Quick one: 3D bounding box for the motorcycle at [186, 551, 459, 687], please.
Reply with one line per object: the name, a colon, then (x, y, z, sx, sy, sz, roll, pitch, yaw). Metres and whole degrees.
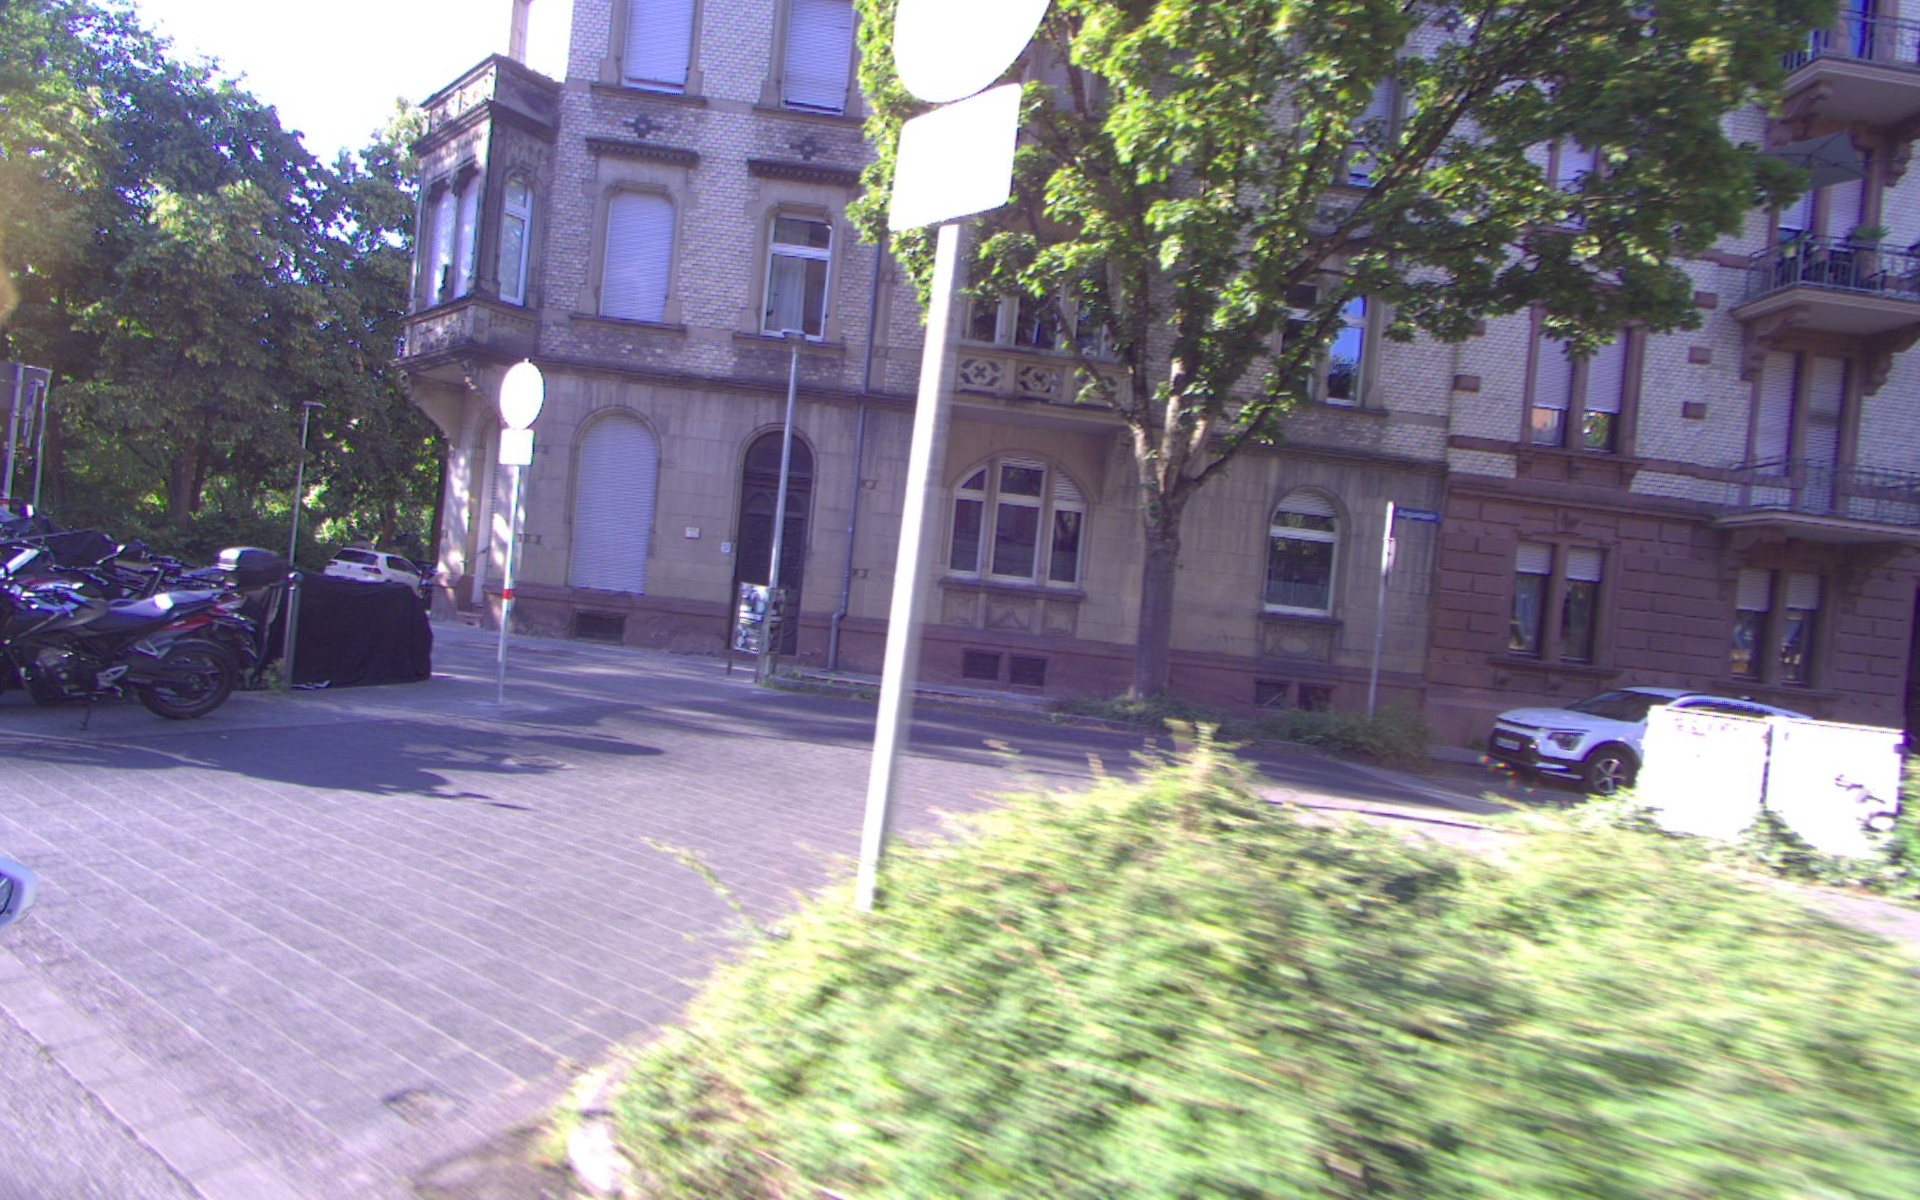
motorcycle: (-6.161, 0.201, 9.851, 0.889, 1.123, 2.025, 6, 1, 30)

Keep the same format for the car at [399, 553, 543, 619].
car: (-12.646, -0.289, 26.347, 1.963, 1.393, 4.367, 2, -3, -6)

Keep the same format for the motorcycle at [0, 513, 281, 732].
motorcycle: (-5.913, 0.154, 6.830, 0.610, 1.343, 2.018, 7, 0, 28)

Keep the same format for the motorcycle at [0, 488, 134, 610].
motorcycle: (-13.060, -0.728, 13.944, 0.742, 1.550, 2.288, 6, -1, 26)

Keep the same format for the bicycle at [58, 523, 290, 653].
bicycle: (-8.640, -0.088, 11.171, 0.471, 1.261, 1.929, 6, 0, 26)

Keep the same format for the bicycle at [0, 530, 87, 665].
bicycle: (-9.276, -0.054, 9.186, 0.297, 1.261, 1.929, 6, 0, 26)

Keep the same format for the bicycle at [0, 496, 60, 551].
bicycle: (-25.177, -2.077, 26.680, 2.107, 1.302, 1.026, 6, 1, 20)

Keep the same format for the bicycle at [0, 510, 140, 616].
bicycle: (-12.164, -0.494, 13.312, 0.471, 1.261, 1.929, 6, 0, 26)

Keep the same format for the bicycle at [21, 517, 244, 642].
bicycle: (-9.534, -0.189, 11.690, 0.388, 1.261, 1.929, 6, 0, 26)

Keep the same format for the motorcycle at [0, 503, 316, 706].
motorcycle: (-6.335, 0.052, 7.868, 0.683, 1.380, 2.024, 7, 1, 32)

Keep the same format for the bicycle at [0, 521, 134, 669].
bicycle: (-8.579, -0.067, 8.793, 0.637, 1.261, 1.929, 6, 0, 26)

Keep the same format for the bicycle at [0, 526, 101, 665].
bicycle: (-9.010, -0.069, 9.034, 0.297, 1.261, 1.929, 6, 0, 26)

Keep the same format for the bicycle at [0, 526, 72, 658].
bicycle: (-9.557, -0.119, 9.337, 0.297, 1.261, 1.929, 6, 0, 26)

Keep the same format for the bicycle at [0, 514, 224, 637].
bicycle: (-9.989, -0.241, 11.945, 0.471, 1.261, 1.929, 6, 0, 26)

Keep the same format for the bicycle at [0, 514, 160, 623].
bicycle: (-11.687, -0.398, 13.074, 0.471, 1.261, 1.929, 6, 0, 26)

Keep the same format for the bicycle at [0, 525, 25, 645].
bicycle: (-10.664, -0.219, 10.011, 0.297, 1.261, 1.929, 6, 0, 26)

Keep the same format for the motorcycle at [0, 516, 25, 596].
motorcycle: (-15.584, -0.792, 15.014, 0.958, 1.194, 2.277, 6, -1, 44)

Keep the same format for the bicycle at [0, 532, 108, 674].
bicycle: (-8.116, 0.010, 8.115, 0.436, 1.142, 1.818, 7, 2, 30)

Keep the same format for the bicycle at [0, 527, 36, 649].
bicycle: (-10.376, -0.182, 9.831, 0.297, 1.261, 1.929, 6, 0, 26)

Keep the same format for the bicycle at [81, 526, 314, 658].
bicycle: (-8.203, -0.038, 10.940, 0.471, 1.261, 1.929, 6, 0, 26)

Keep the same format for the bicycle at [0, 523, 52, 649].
bicycle: (-10.083, -0.192, 9.694, 0.297, 1.261, 1.929, 6, 0, 26)

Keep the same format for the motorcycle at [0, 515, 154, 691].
motorcycle: (-7.586, -0.007, 7.677, 0.889, 1.302, 2.024, 6, 2, 30)

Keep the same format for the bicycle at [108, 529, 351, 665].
bicycle: (-7.670, 0.022, 10.687, 0.637, 1.261, 1.929, 6, 0, 26)

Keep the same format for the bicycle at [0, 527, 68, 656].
bicycle: (-9.791, -0.130, 9.549, 0.297, 1.261, 1.929, 6, 0, 26)

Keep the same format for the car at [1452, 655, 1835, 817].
car: (9.527, 1.862, 14.236, 4.142, 1.631, 1.780, 6, 0, -4)

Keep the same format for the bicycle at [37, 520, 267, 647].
bicycle: (-9.082, -0.138, 11.413, 0.471, 1.261, 1.929, 6, 0, 26)

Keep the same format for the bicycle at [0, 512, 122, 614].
bicycle: (-12.606, -0.512, 13.549, 0.444, 1.261, 1.929, 6, 0, 26)

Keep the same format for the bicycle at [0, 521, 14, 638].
bicycle: (-10.937, -0.288, 10.180, 0.297, 1.261, 1.929, 6, 0, 26)

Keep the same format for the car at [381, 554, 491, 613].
car: (-18.441, -0.516, 35.637, 1.849, 1.478, 4.003, 9, -4, -4)

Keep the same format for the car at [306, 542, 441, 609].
car: (-17.944, -0.686, 31.015, 1.849, 1.427, 4.003, 10, -4, -4)

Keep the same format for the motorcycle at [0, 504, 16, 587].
motorcycle: (-16.646, -1.001, 15.829, 0.924, 1.358, 2.372, 6, -1, 22)

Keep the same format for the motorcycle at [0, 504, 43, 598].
motorcycle: (-14.854, -0.820, 14.525, 0.647, 1.358, 2.278, 6, -1, 43)
